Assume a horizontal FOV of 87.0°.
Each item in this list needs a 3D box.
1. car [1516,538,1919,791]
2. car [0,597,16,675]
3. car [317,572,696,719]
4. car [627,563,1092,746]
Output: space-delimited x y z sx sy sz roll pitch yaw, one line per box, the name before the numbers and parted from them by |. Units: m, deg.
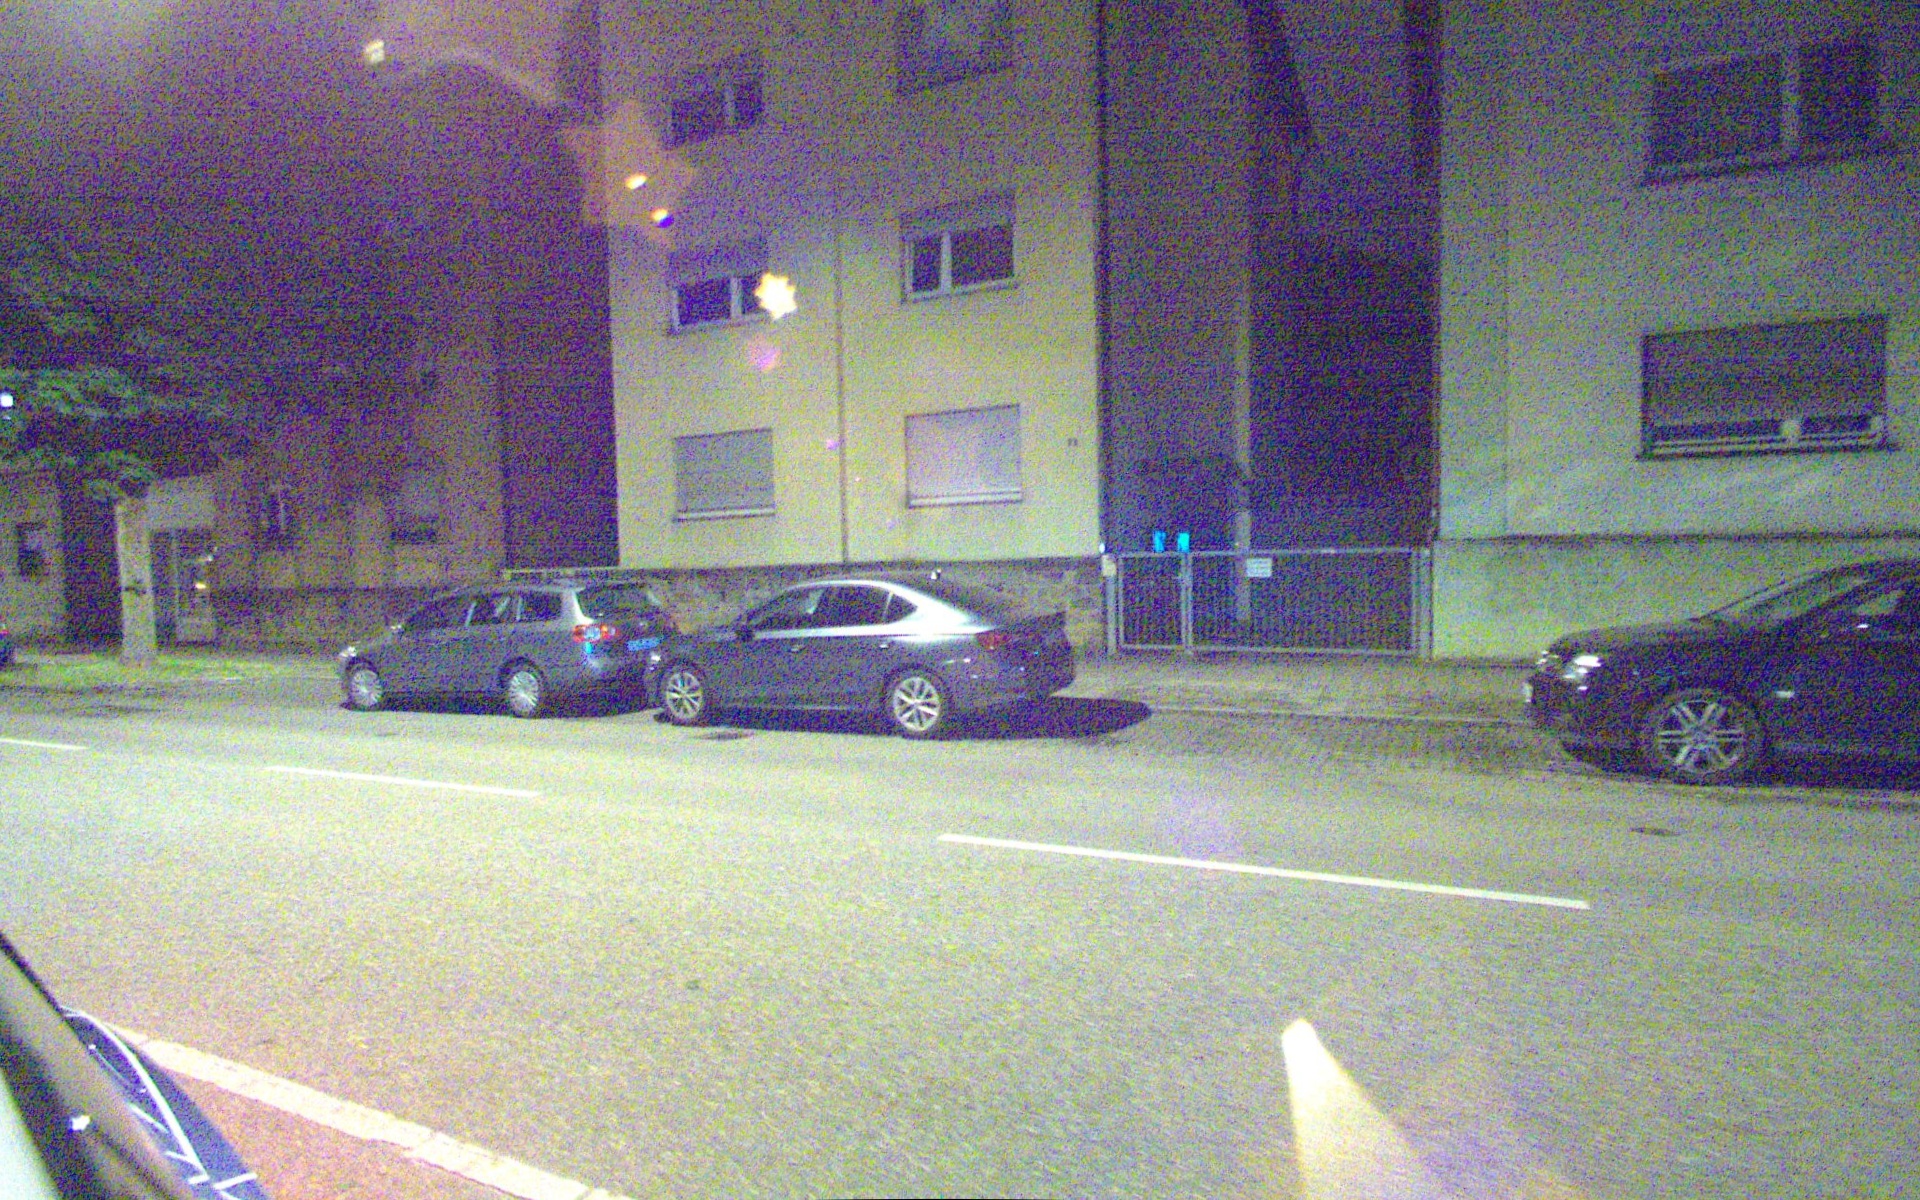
car | 6.237 0.335 6.617 4.376 1.444 1.852 -1 3 24
car | -20.070 0.718 19.489 3.496 1.475 1.620 -1 1 26
car | -5.440 0.480 12.094 4.324 1.444 1.631 -1 4 25
car | -1.025 0.453 9.907 4.323 1.444 1.544 -1 4 25
